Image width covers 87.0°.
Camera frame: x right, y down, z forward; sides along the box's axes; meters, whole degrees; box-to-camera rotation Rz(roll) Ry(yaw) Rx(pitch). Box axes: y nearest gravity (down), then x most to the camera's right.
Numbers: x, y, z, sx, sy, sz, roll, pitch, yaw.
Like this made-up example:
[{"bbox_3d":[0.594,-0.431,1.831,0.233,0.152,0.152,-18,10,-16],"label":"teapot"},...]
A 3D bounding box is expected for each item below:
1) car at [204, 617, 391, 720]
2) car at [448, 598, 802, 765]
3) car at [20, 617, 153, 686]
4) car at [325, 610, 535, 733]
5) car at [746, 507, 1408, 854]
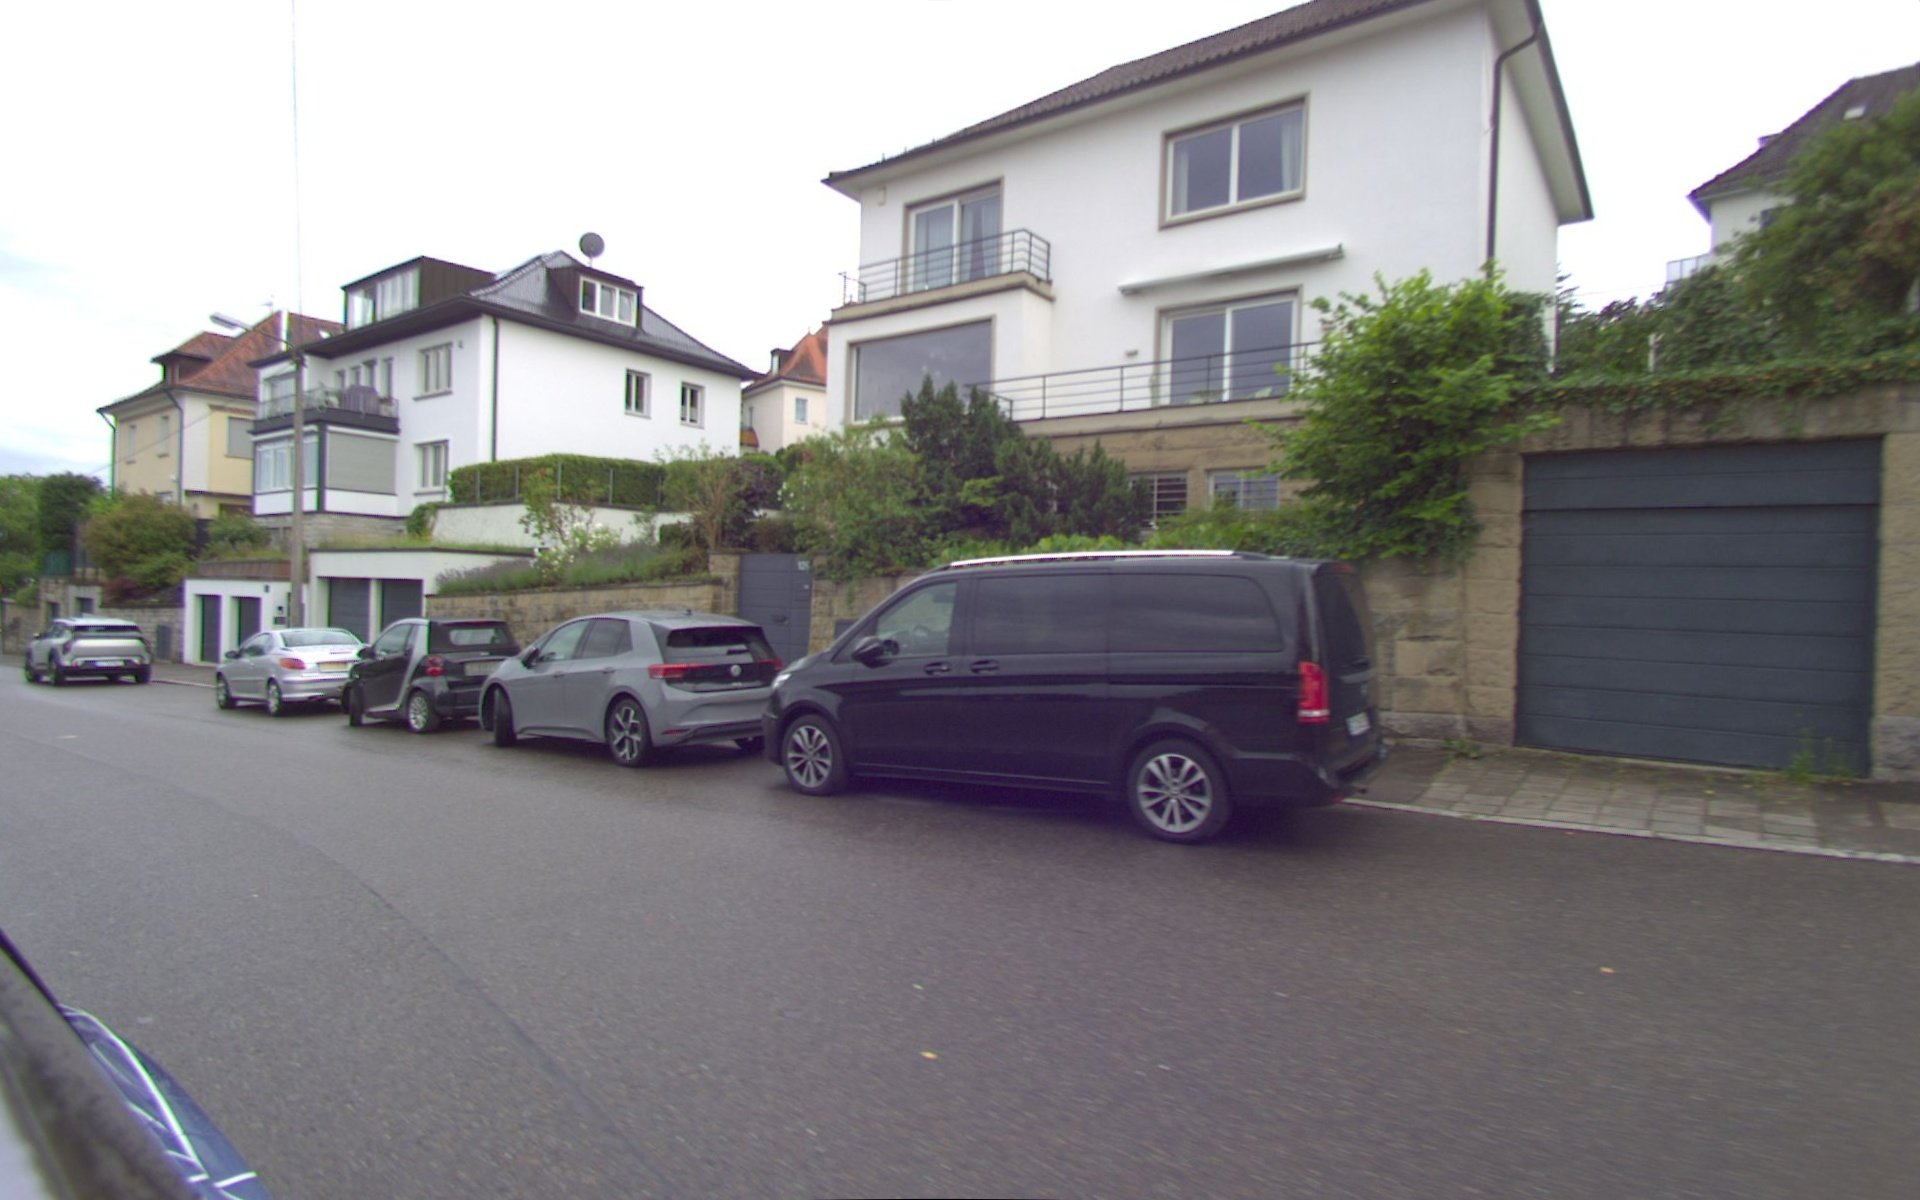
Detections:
[{"bbox_3d":[-11.153,1.076,16.984,3.432,1.502,1.575,-1,1,38],"label":"car"},{"bbox_3d":[-3.918,0.798,11.452,4.398,1.502,1.675,-1,1,39],"label":"car"},{"bbox_3d":[-21.412,1.192,24.769,3.996,1.512,1.845,-1,0,40],"label":"car"},{"bbox_3d":[-7.487,0.934,14.252,2.889,1.502,1.504,-1,1,37],"label":"car"},{"bbox_3d":[0.741,0.484,7.930,4.763,1.972,1.977,-1,1,35],"label":"car"}]
